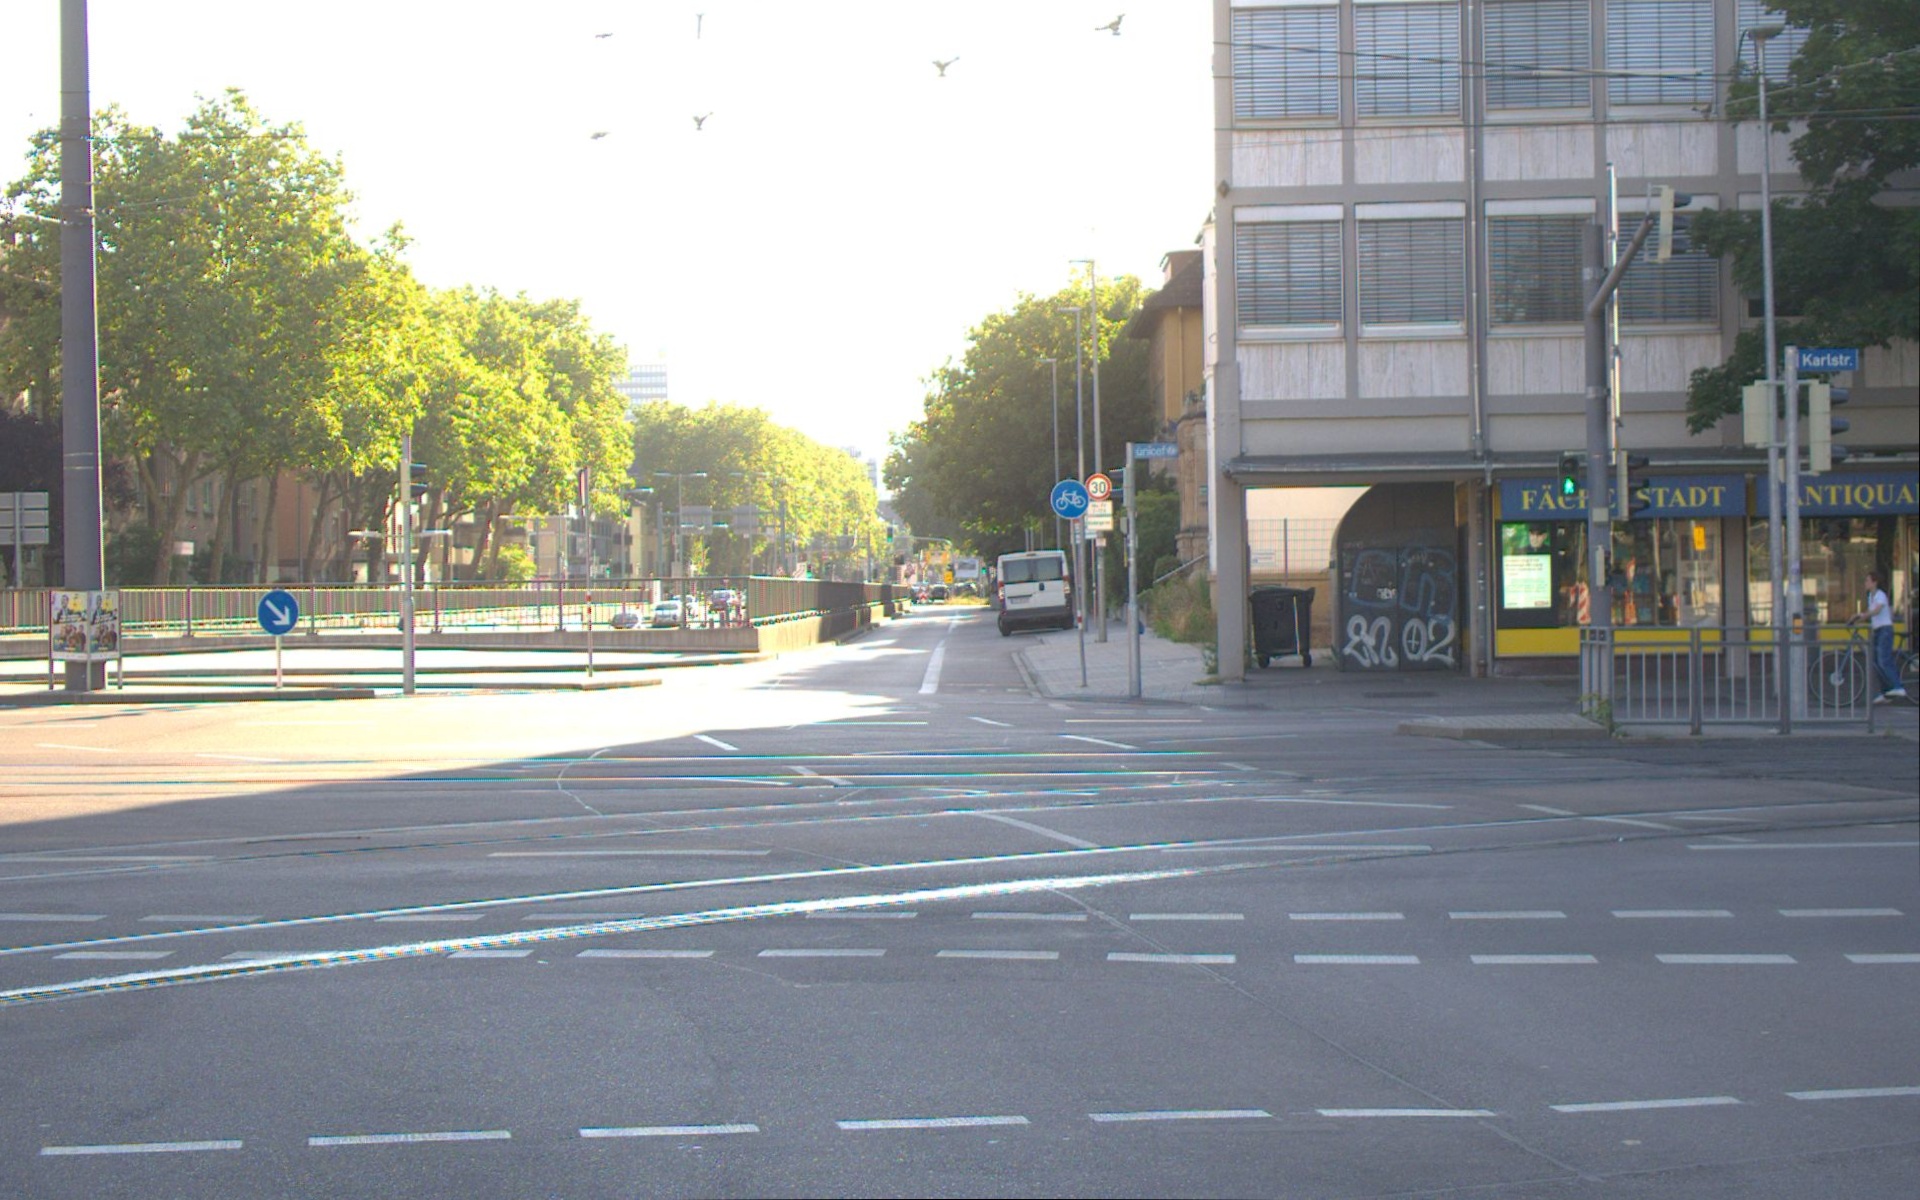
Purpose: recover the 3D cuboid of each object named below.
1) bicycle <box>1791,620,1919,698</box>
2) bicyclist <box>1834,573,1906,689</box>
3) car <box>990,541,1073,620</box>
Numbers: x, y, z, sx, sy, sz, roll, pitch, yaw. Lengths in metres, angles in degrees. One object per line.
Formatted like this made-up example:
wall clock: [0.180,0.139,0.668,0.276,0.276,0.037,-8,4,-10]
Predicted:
bicycle: [11.402,0.735,42.620,2.024,0.937,0.671,1,0,-1]
bicyclist: [11.281,0.384,42.623,0.679,1.419,0.671,1,0,-1]
car: [2.073,-0.555,98.331,2.286,2.165,4.833,1,0,2]
